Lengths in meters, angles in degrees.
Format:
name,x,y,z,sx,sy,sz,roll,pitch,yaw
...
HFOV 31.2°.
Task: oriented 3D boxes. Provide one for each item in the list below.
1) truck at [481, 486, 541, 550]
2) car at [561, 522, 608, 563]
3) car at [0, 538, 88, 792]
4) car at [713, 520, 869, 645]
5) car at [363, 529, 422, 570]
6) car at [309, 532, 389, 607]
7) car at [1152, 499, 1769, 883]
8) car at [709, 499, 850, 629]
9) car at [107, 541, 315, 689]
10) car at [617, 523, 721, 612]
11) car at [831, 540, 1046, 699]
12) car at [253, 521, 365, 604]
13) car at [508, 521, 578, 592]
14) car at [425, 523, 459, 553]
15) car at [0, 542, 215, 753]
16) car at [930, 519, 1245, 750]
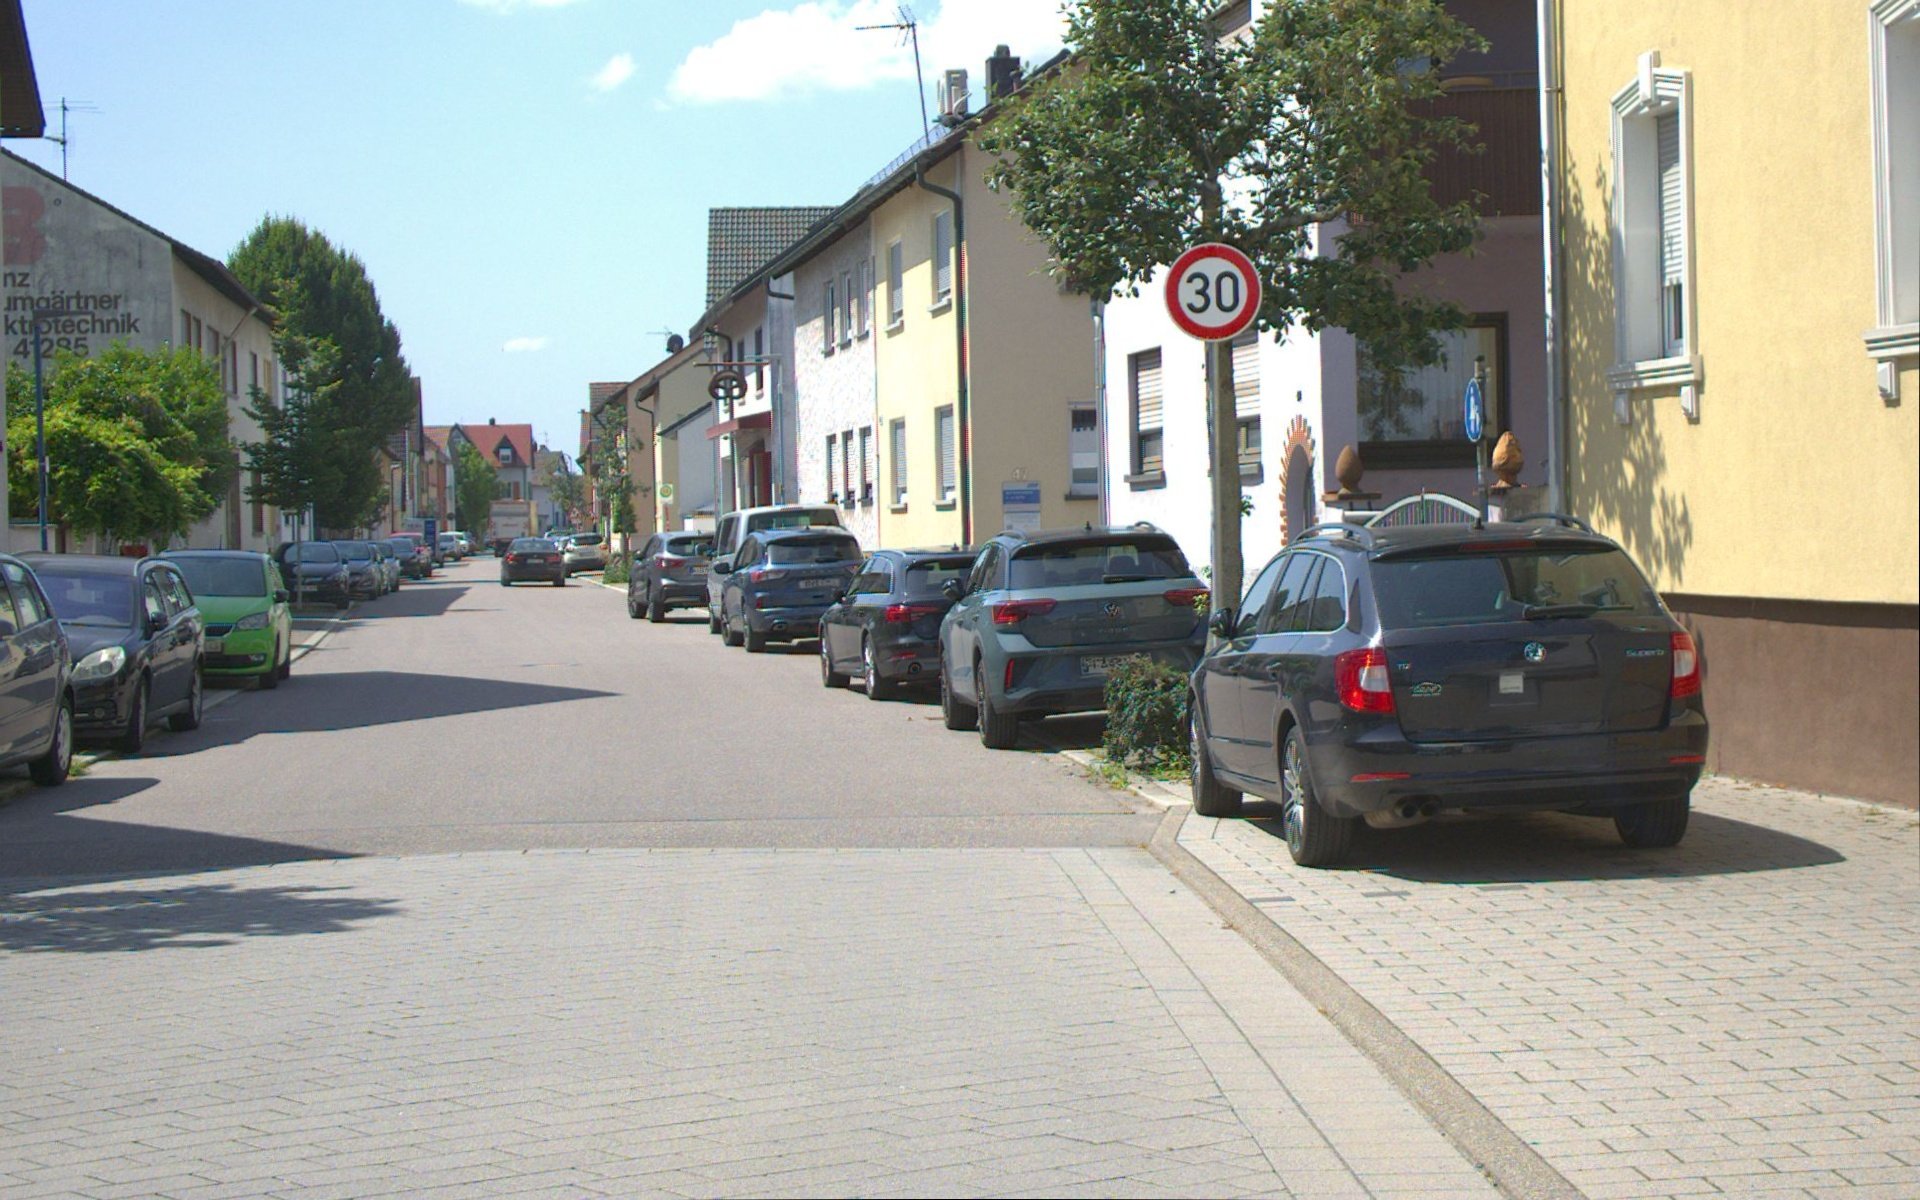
name,x,y,z,sx,sy,sz,roll,pitch,yaw
truck,-28.851,-5.246,220.632,3.564,3.940,8.584,-2,2,-8
car,-13.909,-2.131,127.470,1.687,1.447,3.794,-2,2,-6
car,-6.755,0.394,21.544,1.747,1.525,4.001,0,2,-3
car,-2.354,-0.278,47.008,1.877,1.585,4.001,-2,2,-6
car,-21.172,-1.900,128.349,1.916,1.437,4.001,-2,2,-6
car,-15.173,-0.771,85.486,1.683,1.752,3.616,-2,2,-6
car,2.188,0.334,16.273,1.829,1.466,4.277,-3,1,-6
car,-2.803,-0.580,52.689,1.906,1.865,4.001,-2,2,-6
car,-8.223,0.119,38.029,1.792,1.470,3.871,-2,2,-6
car,-5.247,-0.615,61.695,1.754,1.487,4.001,-2,2,-6
car,-0.260,0.148,33.401,1.710,1.382,3.707,-2,2,-6
car,-13.832,-0.822,73.198,1.993,1.656,4.001,-2,2,-6
car,-12.671,-1.356,104.655,1.993,2.050,4.375,-2,2,-6
car,-30.903,-3.724,205.232,1.847,1.701,3.720,-2,2,-6
car,-7.208,0.322,27.850,1.750,1.527,4.261,0,2,-5
car,0.881,0.194,25.887,1.846,1.557,3.694,-2,2,-6
